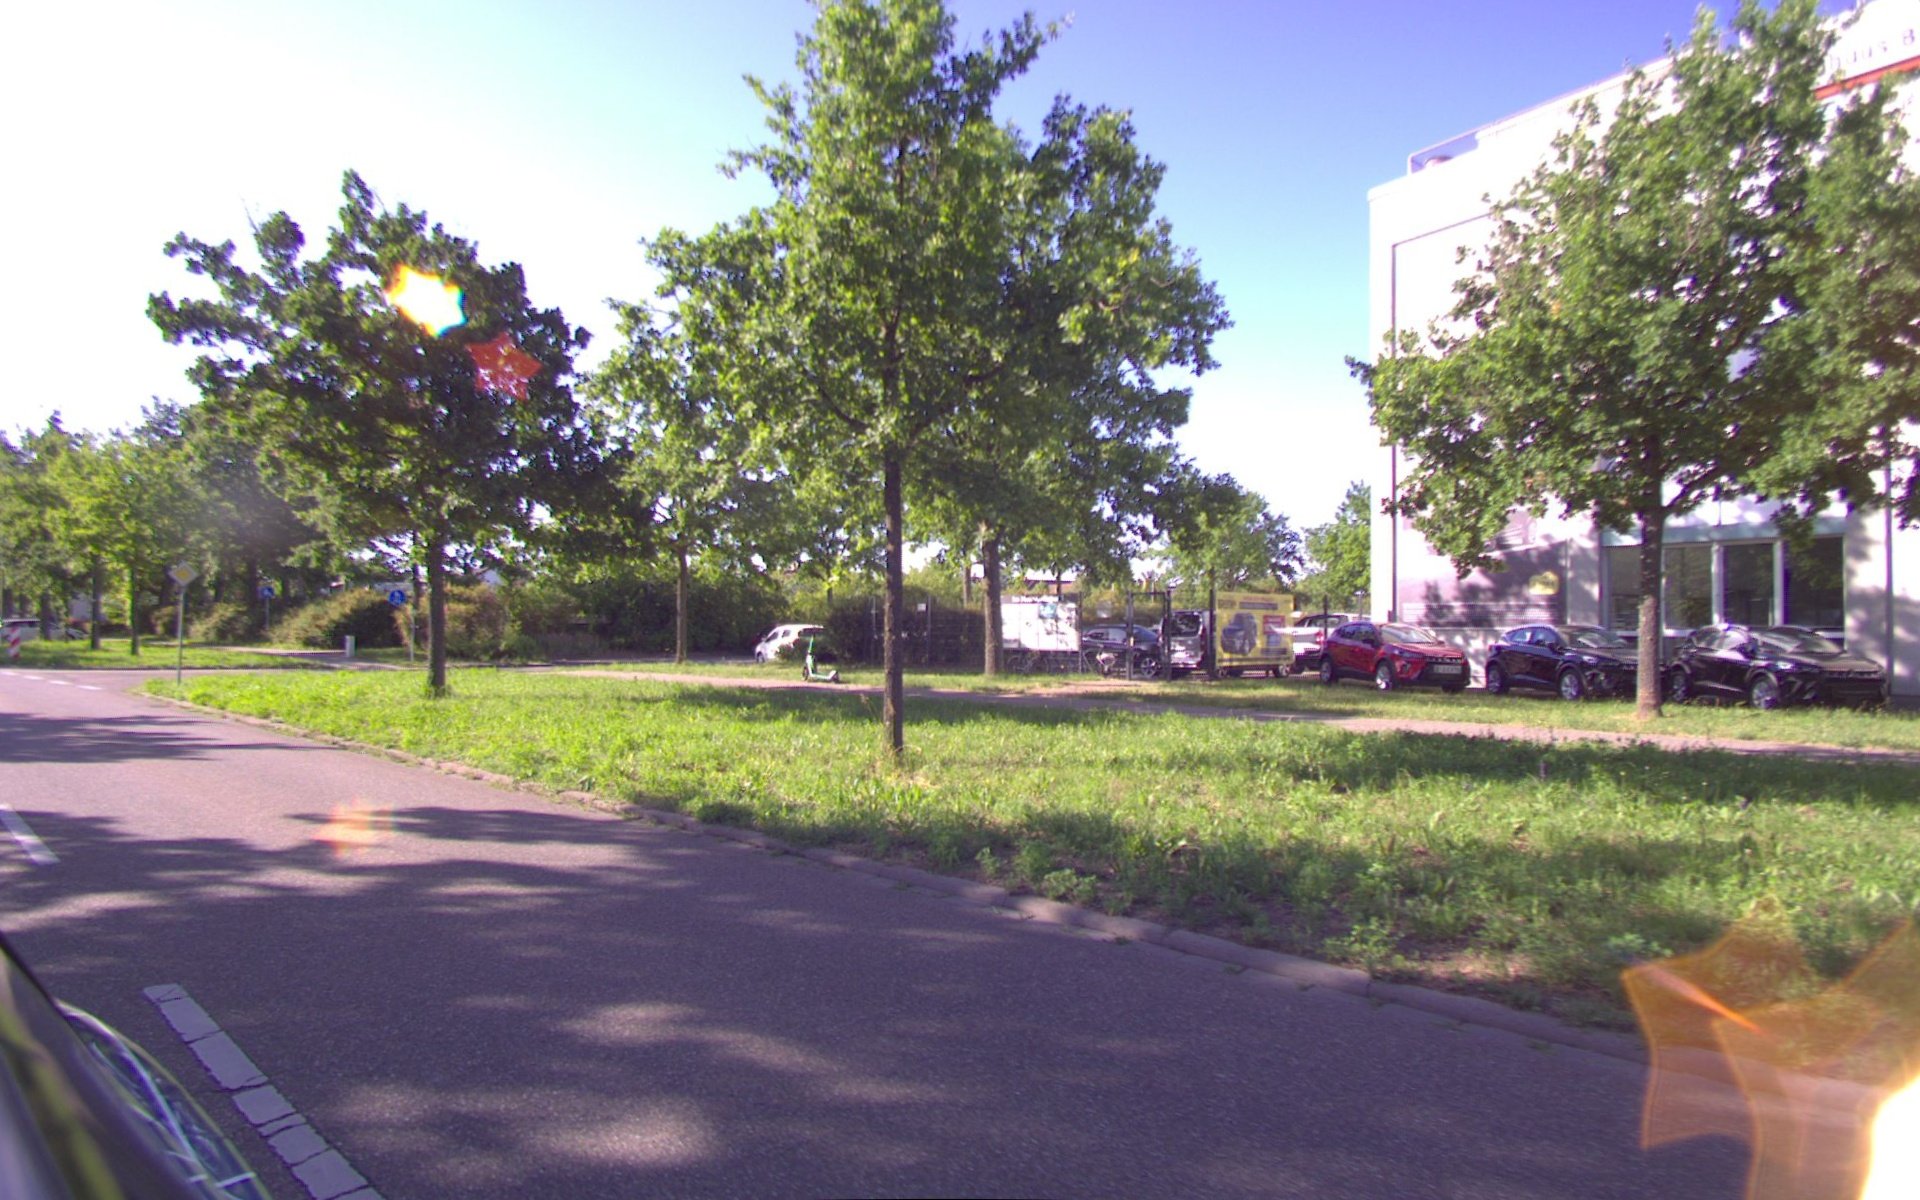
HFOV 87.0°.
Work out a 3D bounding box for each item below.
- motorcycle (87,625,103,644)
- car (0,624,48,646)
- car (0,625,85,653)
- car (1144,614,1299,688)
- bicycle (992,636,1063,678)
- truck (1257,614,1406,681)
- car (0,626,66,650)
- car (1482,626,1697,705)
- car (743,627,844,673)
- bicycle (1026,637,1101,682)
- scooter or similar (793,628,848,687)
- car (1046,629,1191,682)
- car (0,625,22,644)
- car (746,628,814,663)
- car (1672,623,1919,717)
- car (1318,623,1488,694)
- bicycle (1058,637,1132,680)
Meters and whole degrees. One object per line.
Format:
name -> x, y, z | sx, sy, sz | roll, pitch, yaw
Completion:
motorcycle -> -67.500, 2.668, 78.972 | 1.992, 1.443, 0.729 | -2, 1, 44
car -> -71.112, 2.596, 75.585 | 4.362, 1.568, 2.089 | 0, -1, -45
car -> -55.992, 2.351, 61.027 | 2.189, 1.570, 4.580 | -2, -1, 39
car -> 7.100, 1.318, 27.378 | 3.965, 1.797, 2.030 | -1, -1, -38
bicycle -> 1.793, 1.514, 27.125 | 1.890, 1.096, 0.632 | -2, -3, 41
truck -> 11.167, 1.363, 30.309 | 4.614, 1.797, 2.030 | -1, -1, -38
car -> -63.587, 2.561, 68.568 | 2.088, 1.522, 4.364 | -2, -1, 43
car -> 12.670, 1.283, 20.703 | 1.775, 1.459, 4.001 | 0, -2, -2
car -> -6.039, 1.813, 36.314 | 1.967, 1.516, 3.925 | 1, -5, -37
bicycle -> 2.642, 1.506, 25.958 | 1.890, 1.096, 0.632 | -2, -3, 41
scooter or similar -> -3.135, 1.271, 22.651 | 1.441, 1.289, 0.390 | -2, -3, 42
car -> 4.673, 1.611, 30.265 | 4.001, 1.459, 1.775 | -2, -3, 44
car -> -86.050, 3.114, 89.882 | 4.016, 1.655, 1.877 | 0, -1, -44
car -> -8.578, 2.126, 48.081 | 1.776, 1.516, 3.560 | 1, -1, -37
car -> 14.999, 1.214, 18.459 | 1.782, 1.523, 3.984 | -2, -2, 12
car -> 9.967, 1.288, 23.146 | 1.773, 1.459, 4.005 | 0, -2, -6
bicycle -> 3.518, 1.510, 26.499 | 1.890, 1.096, 0.632 | -2, -3, 41
